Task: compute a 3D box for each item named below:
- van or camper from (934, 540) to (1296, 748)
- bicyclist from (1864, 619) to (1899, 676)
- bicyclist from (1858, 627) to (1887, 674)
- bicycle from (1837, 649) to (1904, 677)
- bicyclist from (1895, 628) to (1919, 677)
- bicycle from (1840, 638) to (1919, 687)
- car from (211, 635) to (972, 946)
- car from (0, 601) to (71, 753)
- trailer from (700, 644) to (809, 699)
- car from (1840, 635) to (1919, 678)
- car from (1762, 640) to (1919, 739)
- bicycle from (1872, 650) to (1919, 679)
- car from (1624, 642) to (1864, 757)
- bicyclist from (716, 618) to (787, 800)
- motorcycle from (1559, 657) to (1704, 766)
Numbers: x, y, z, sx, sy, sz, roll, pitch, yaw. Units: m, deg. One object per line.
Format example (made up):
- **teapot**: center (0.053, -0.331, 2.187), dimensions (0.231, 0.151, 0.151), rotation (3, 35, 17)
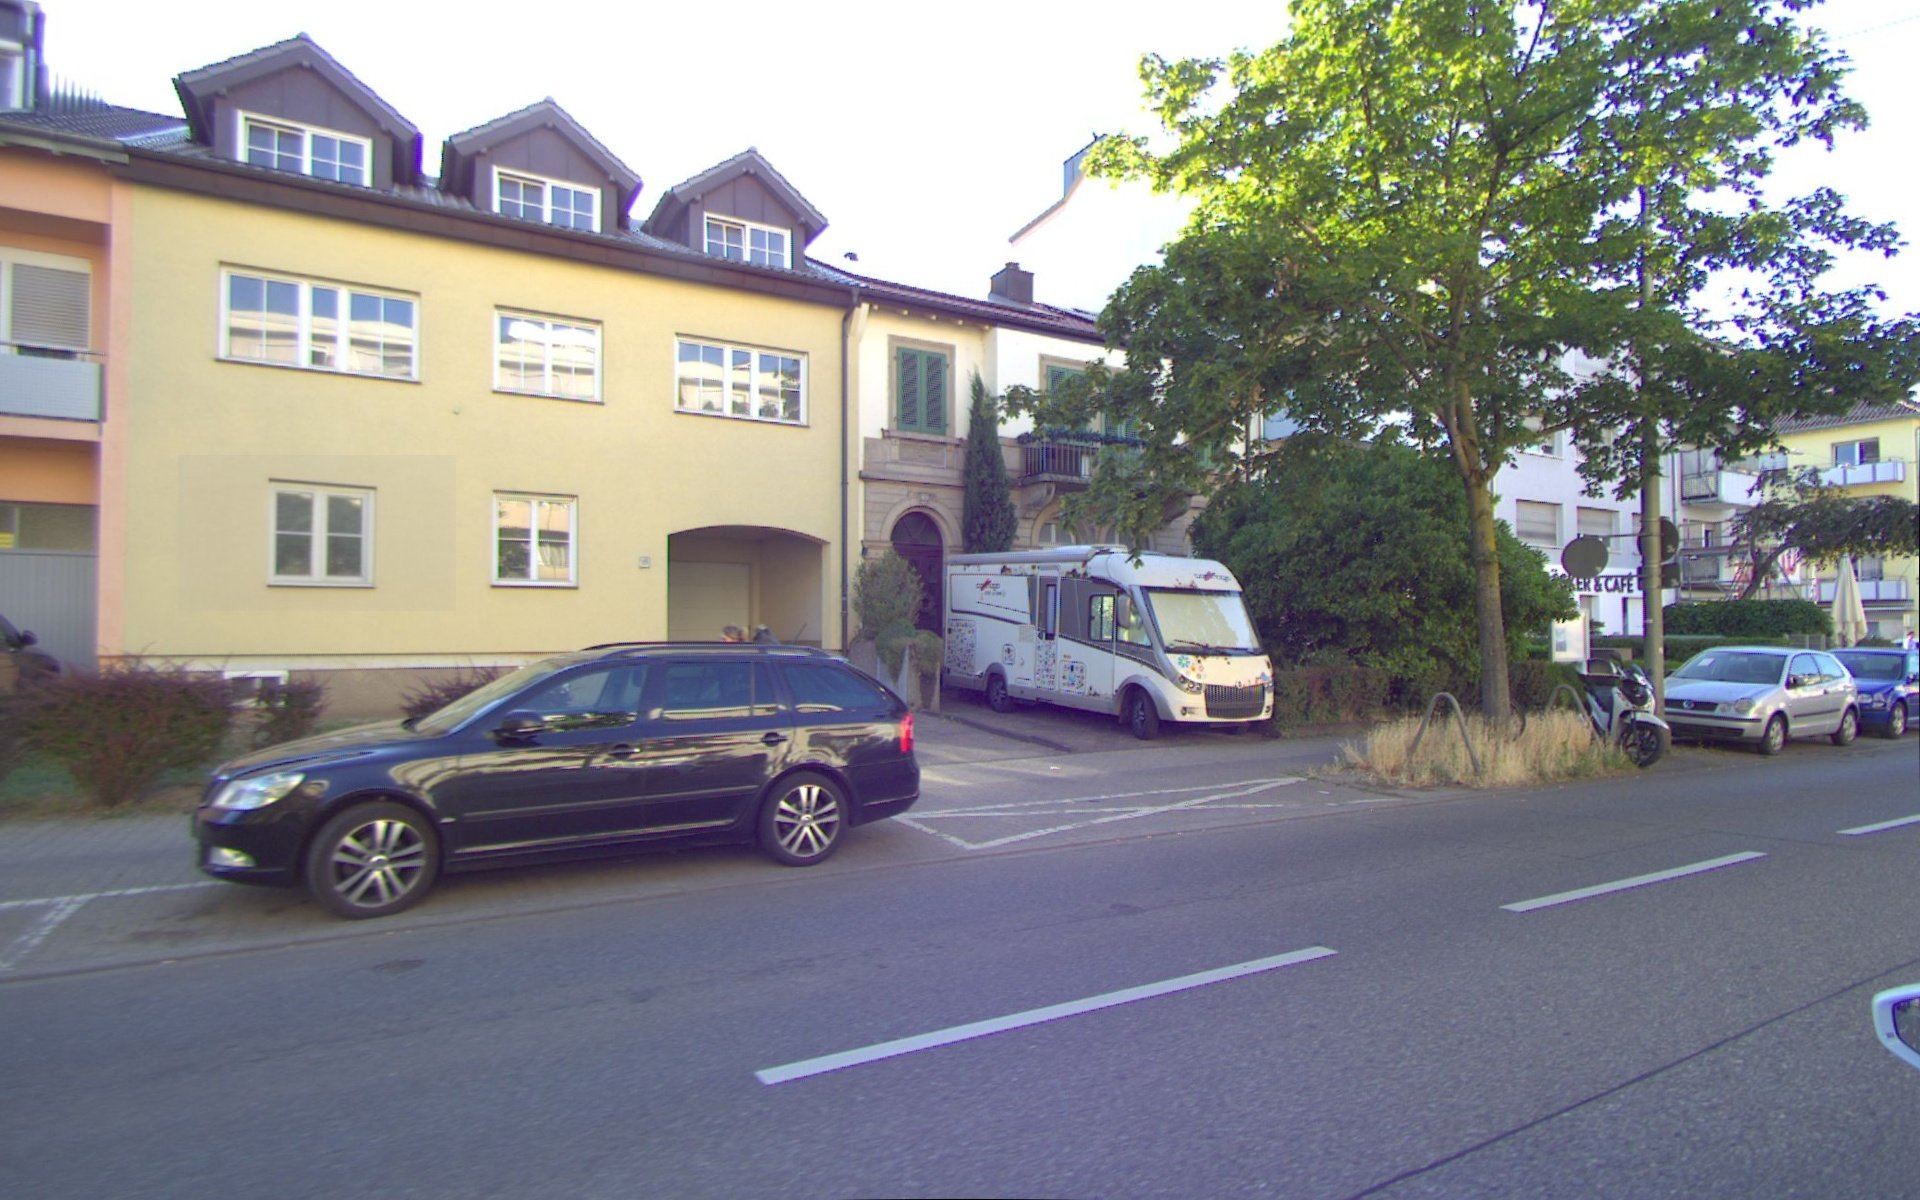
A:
- **van or camper**: center (2.215, 0.597, 17.084), dimensions (2.325, 2.810, 6.764), rotation (1, 0, -30)
- **bicyclist**: center (33.499, 1.739, 36.522), dimensions (0.835, 2.040, 0.721), rotation (1, -2, -33)
- **bicyclist**: center (36.401, 2.010, 40.068), dimensions (0.648, 1.847, 0.733), rotation (1, -3, -38)
- **bicycle**: center (36.345, 2.500, 40.099), dimensions (0.713, 1.085, 1.885), rotation (2, -3, -38)
- **bicyclist**: center (36.348, 1.993, 38.414), dimensions (0.648, 1.847, 0.733), rotation (1, -3, -38)
- **bicycle**: center (33.403, 2.244, 36.475), dimensions (0.749, 1.728, 2.012), rotation (1, -2, -32)
- **car**: center (-2.299, 1.037, 7.014), dimensions (4.464, 1.514, 1.859), rotation (1, -1, -30)
- **car**: center (-11.717, 0.849, 11.179), dimensions (1.843, 1.657, 3.970), rotation (1, 0, -29)
- **trailer**: center (-4.431, 1.486, 21.495), dimensions (1.608, 0.973, 2.393), rotation (1, 0, -30)
- **car**: center (41.591, 2.457, 43.720), dimensions (1.840, 1.835, 4.613), rotation (1, -3, -30)
- **car**: center (15.974, 1.488, 17.640), dimensions (4.026, 1.537, 1.641), rotation (1, -1, -30)
- **bicycle**: center (36.276, 2.483, 38.481), dimensions (0.713, 1.085, 1.885), rotation (2, -3, -38)
- **car**: center (11.942, 1.412, 15.255), dimensions (3.759, 1.490, 1.586), rotation (1, 0, -30)
- **bicyclist**: center (-2.010, 1.021, 9.667), dimensions (0.546, 1.685, 0.466), rotation (1, -2, -31)
- **motorcycle**: center (8.766, 1.410, 13.223), dimensions (0.751, 1.281, 2.056), rotation (0, -2, 8)
